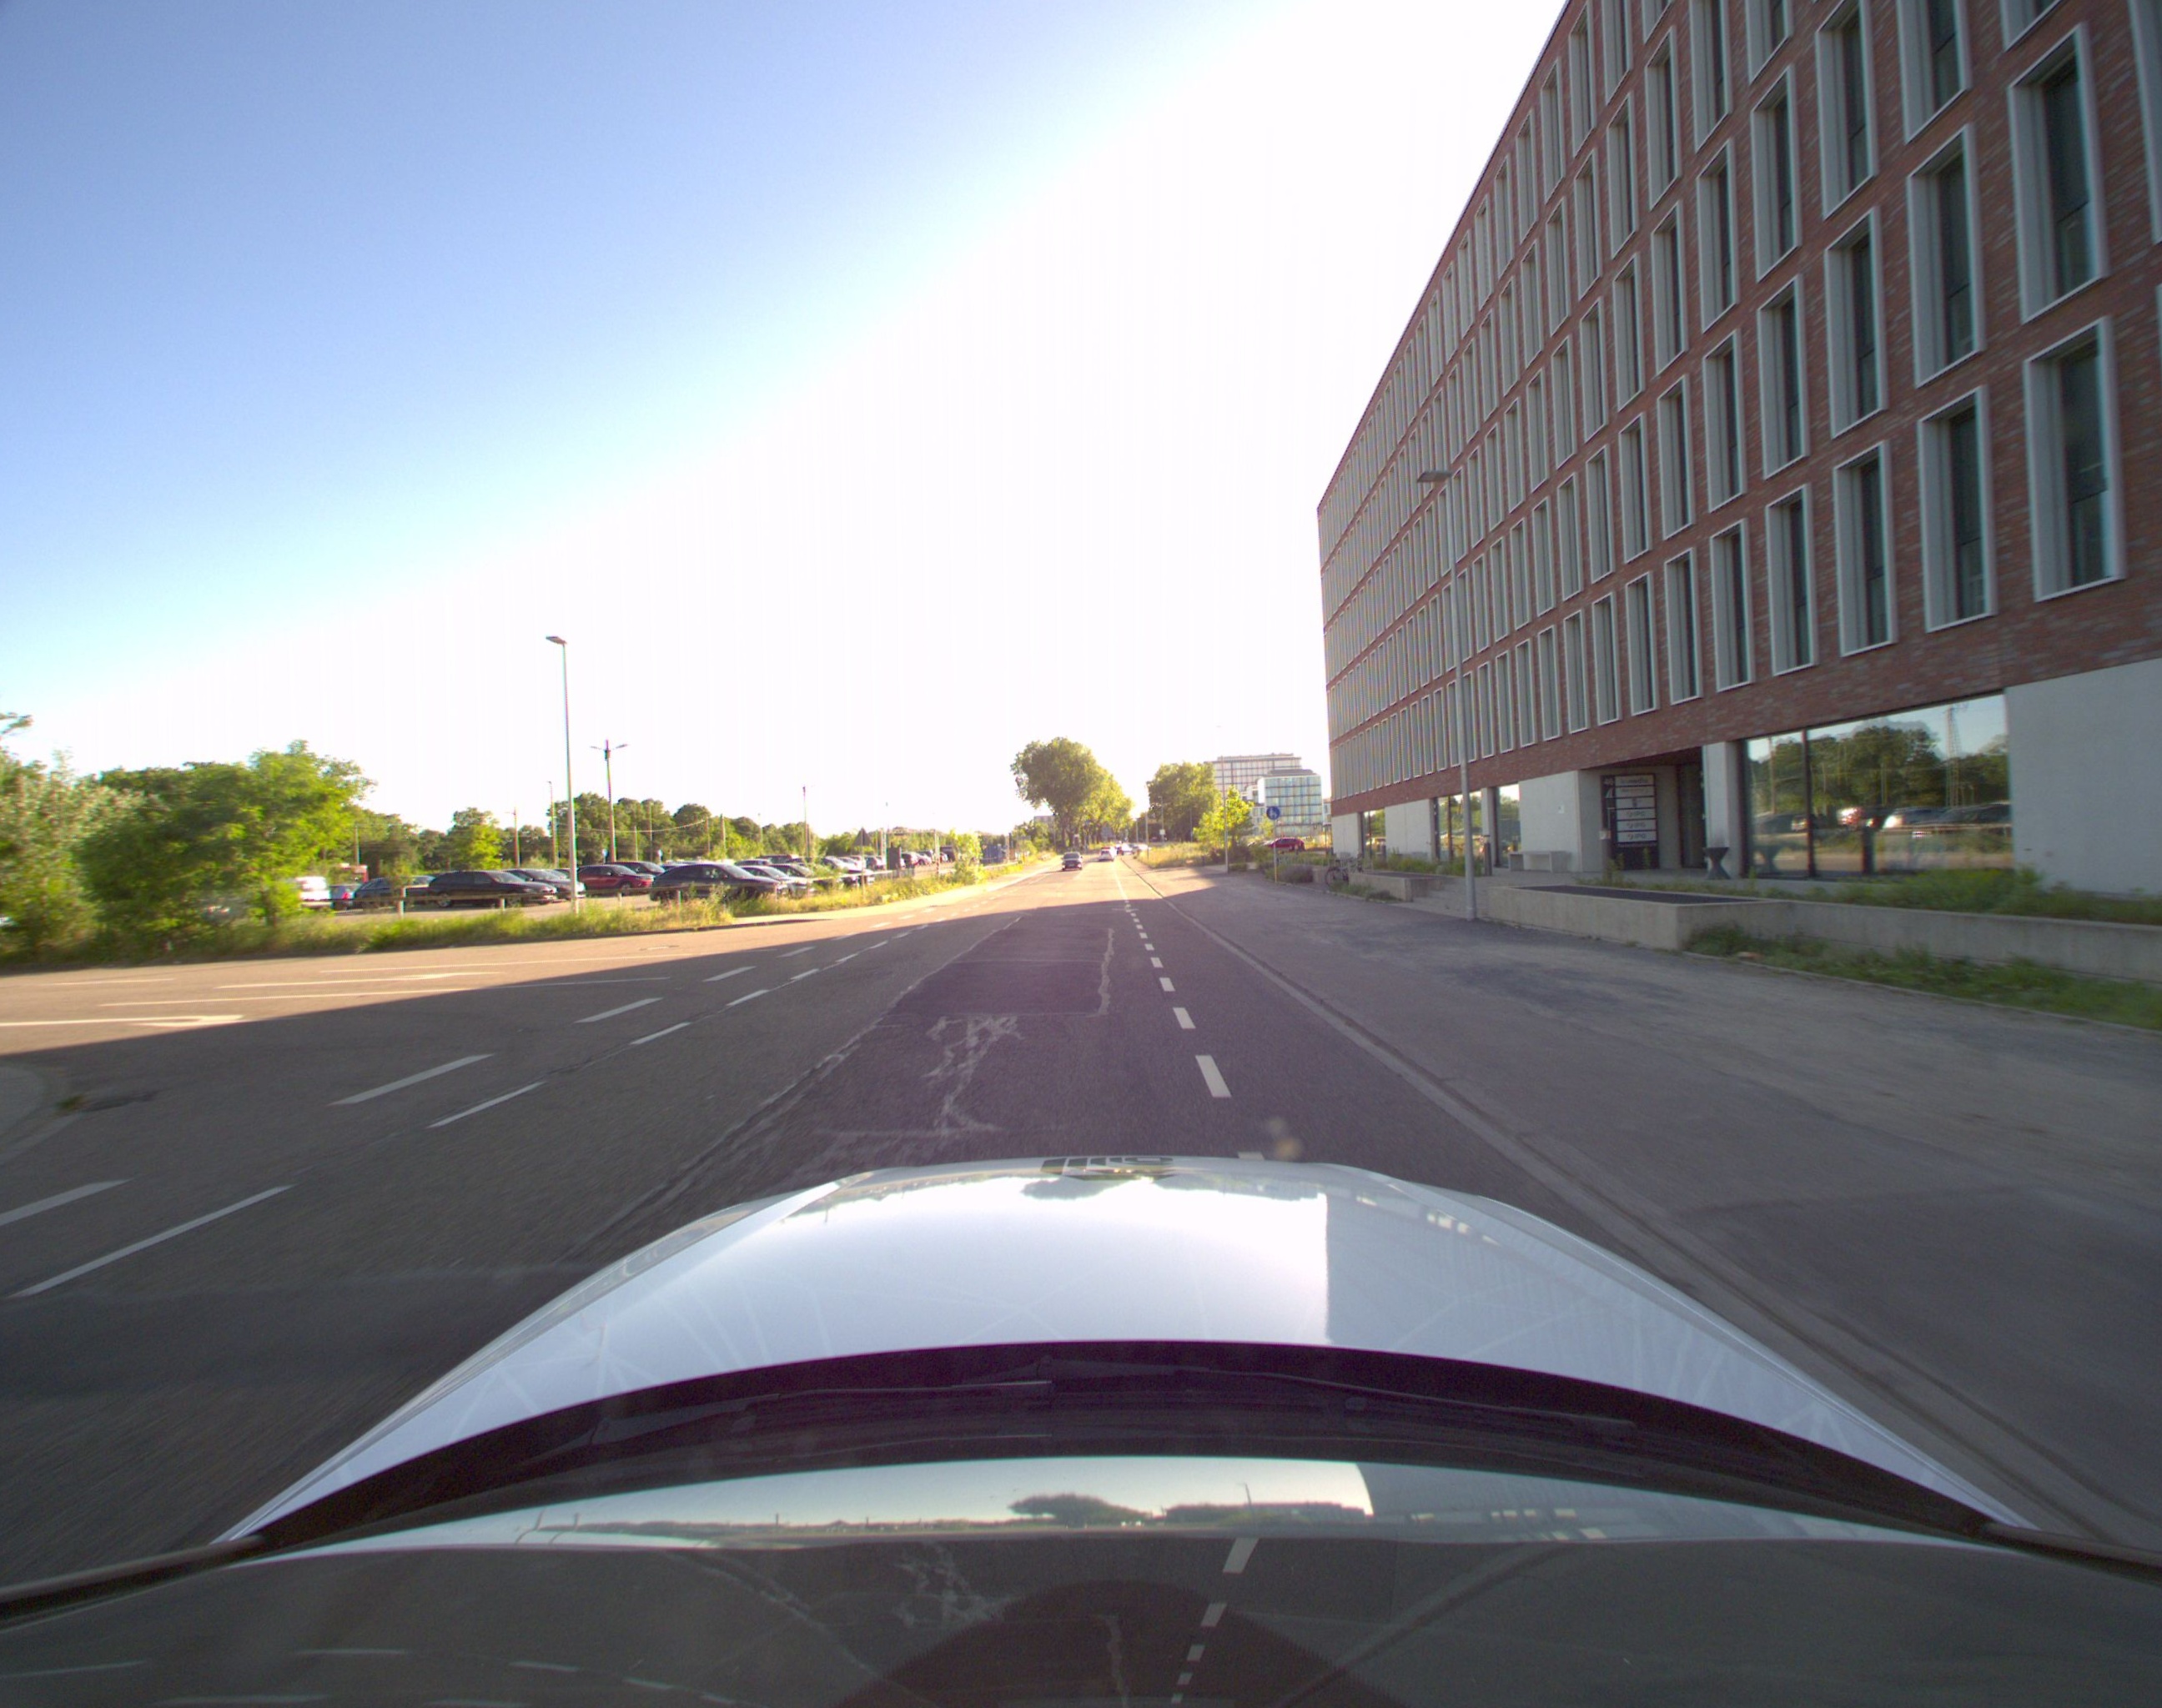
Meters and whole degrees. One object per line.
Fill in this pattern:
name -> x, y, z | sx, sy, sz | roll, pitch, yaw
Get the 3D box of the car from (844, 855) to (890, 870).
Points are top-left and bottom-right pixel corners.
car -> -22.792, 0.891, 86.804 | 4.306, 1.419, 1.879 | -1, 1, 1

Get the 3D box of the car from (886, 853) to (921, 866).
car -> -22.208, 0.656, 101.925 | 3.869, 1.520, 1.879 | -1, 1, 1

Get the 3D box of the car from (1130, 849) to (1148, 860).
car -> 9.484, 0.136, 132.130 | 2.148, 1.684, 4.015 | -2, 0, 14

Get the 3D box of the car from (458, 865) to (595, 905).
car -> -23.725, 1.303, 35.001 | 4.391, 1.465, 2.047 | -2, 0, -2

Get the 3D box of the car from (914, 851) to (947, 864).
car -> -21.322, 0.503, 115.734 | 4.306, 1.618, 1.879 | -1, 1, 1

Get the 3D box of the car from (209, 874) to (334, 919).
car -> -38.819, 2.016, 39.142 | 3.996, 1.919, 1.860 | -2, 0, -2

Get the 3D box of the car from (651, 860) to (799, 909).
car -> -12.848, 1.082, 29.575 | 4.410, 1.580, 2.050 | -2, 0, 3

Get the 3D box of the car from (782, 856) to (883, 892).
car -> -12.547, 0.996, 41.286 | 4.410, 1.670, 2.050 | -2, 0, 3

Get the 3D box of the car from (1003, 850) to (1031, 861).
car -> -10.406, 0.240, 132.357 | 4.410, 1.557, 1.879 | -1, 1, 1

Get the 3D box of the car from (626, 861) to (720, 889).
car -> -22.842, 1.166, 45.700 | 4.150, 1.397, 2.047 | -2, 0, -2

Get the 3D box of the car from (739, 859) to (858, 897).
car -> -12.314, 1.040, 35.714 | 4.410, 1.461, 2.050 | -2, 0, 3

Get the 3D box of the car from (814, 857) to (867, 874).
car -> -22.381, 1.065, 76.004 | 4.304, 1.393, 1.879 | -1, 1, 2

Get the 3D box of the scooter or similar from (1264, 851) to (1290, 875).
scooter or similar -> 10.035, 0.460, 41.758 | 1.237, 1.155, 0.366 | -2, 0, 6

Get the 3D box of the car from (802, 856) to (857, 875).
car -> -22.613, 1.029, 73.416 | 4.304, 1.523, 1.879 | -1, 1, 2

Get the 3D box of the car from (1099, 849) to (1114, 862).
car -> 3.087, 0.160, 97.746 | 1.782, 1.420, 4.003 | -1, 1, 3

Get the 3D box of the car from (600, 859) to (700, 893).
car -> -22.835, 1.140, 43.255 | 4.150, 1.578, 2.047 | -2, 0, -2

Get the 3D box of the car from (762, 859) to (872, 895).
car -> -12.376, 1.069, 38.306 | 4.410, 1.461, 2.050 | -2, 0, 3

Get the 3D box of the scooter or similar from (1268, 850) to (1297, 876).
scooter or similar -> 9.941, 0.446, 40.202 | 1.333, 1.245, 0.424 | -2, 0, 6

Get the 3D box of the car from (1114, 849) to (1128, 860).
car -> 6.249, 0.114, 126.672 | 2.154, 1.684, 4.004 | -1, -1, 4

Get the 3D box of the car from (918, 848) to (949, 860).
car -> -21.386, -0.063, 118.244 | 4.192, 1.618, 1.879 | -1, 1, 1

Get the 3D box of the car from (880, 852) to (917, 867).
car -> -21.821, 0.656, 97.514 | 3.869, 1.603, 1.879 | -1, 1, 1

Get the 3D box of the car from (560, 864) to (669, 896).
car -> -23.118, 1.274, 40.454 | 4.150, 1.397, 2.047 | -2, 0, -2

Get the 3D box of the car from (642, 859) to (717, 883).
car -> -28.380, 1.185, 57.614 | 4.350, 1.545, 1.858 | -1, 1, 2

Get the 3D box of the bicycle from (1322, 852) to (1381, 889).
bicycle -> 9.473, 0.573, 28.539 | 1.928, 1.169, 0.374 | -3, 0, -5

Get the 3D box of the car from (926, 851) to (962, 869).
car -> -20.664, 0.901, 123.333 | 4.909, 2.459, 2.320 | -2, 0, 1

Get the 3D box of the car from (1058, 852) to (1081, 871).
car -> -0.916, 0.653, 69.032 | 1.647, 1.503, 4.002 | -3, 0, 2

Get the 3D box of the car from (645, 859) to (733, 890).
car -> -23.047, 1.176, 48.015 | 4.148, 1.662, 1.965 | -2, 0, -1

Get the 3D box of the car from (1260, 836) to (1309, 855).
car -> 18.996, -0.762, 76.074 | 4.164, 1.581, 1.854 | -2, -3, 5

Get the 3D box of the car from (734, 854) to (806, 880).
car -> -22.917, 0.945, 60.103 | 4.558, 1.805, 1.858 | -1, 1, 2

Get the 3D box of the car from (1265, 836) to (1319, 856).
car -> 17.858, -0.710, 69.170 | 4.164, 1.580, 1.854 | -1, 0, 5

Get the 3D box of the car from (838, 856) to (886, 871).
car -> -22.538, 1.007, 83.922 | 4.306, 1.419, 1.879 | -1, 1, 1

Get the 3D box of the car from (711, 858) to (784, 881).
car -> -23.601, 1.084, 57.734 | 4.350, 1.545, 1.858 | -1, 1, 2

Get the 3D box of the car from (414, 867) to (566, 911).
car -> -23.309, 1.357, 32.259 | 4.391, 1.465, 2.047 | -2, 0, -2

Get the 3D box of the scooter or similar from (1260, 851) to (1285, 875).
scooter or similar -> 10.188, 0.473, 43.280 | 1.237, 1.195, 0.341 | -2, 0, 6

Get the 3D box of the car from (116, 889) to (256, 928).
car -> -39.552, 2.400, 36.067 | 3.996, 1.465, 1.860 | -2, 0, -2

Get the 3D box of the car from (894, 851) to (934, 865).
car -> -21.434, 0.485, 104.769 | 4.558, 1.741, 2.061 | -1, 1, 5

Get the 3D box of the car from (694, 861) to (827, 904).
car -> -12.726, 1.111, 32.480 | 4.410, 1.461, 2.050 | -2, 0, 3
